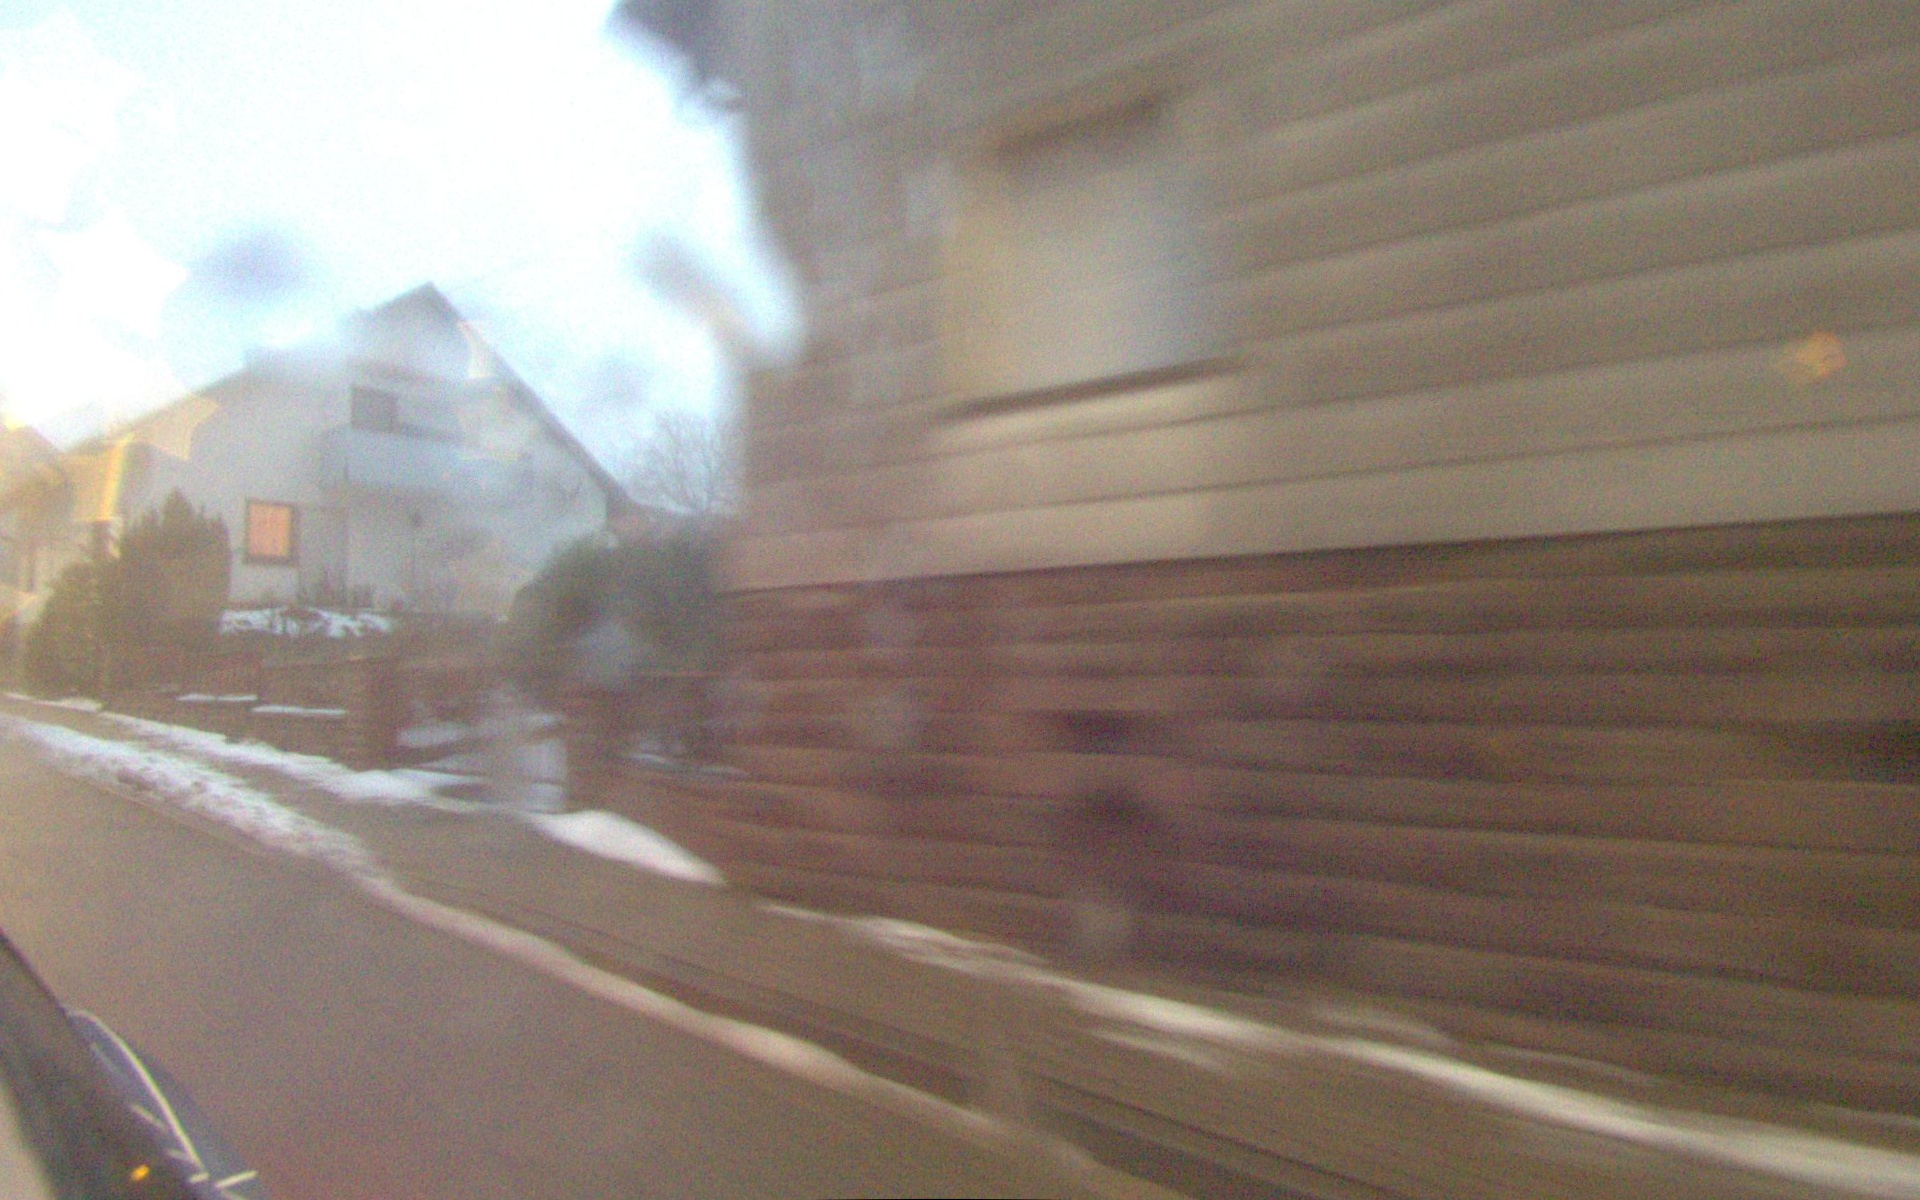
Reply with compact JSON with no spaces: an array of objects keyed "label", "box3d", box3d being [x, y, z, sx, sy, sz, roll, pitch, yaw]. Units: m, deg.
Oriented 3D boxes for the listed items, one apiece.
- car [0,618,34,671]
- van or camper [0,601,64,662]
[{"label":"car","box3d":[-33.579,1.485,33.007,1.887,1.679,4.746,-6,-5,38]},{"label":"van or camper","box3d":[-39.602,1.257,40.598,2.122,2.467,5.288,0,-3,10]}]
